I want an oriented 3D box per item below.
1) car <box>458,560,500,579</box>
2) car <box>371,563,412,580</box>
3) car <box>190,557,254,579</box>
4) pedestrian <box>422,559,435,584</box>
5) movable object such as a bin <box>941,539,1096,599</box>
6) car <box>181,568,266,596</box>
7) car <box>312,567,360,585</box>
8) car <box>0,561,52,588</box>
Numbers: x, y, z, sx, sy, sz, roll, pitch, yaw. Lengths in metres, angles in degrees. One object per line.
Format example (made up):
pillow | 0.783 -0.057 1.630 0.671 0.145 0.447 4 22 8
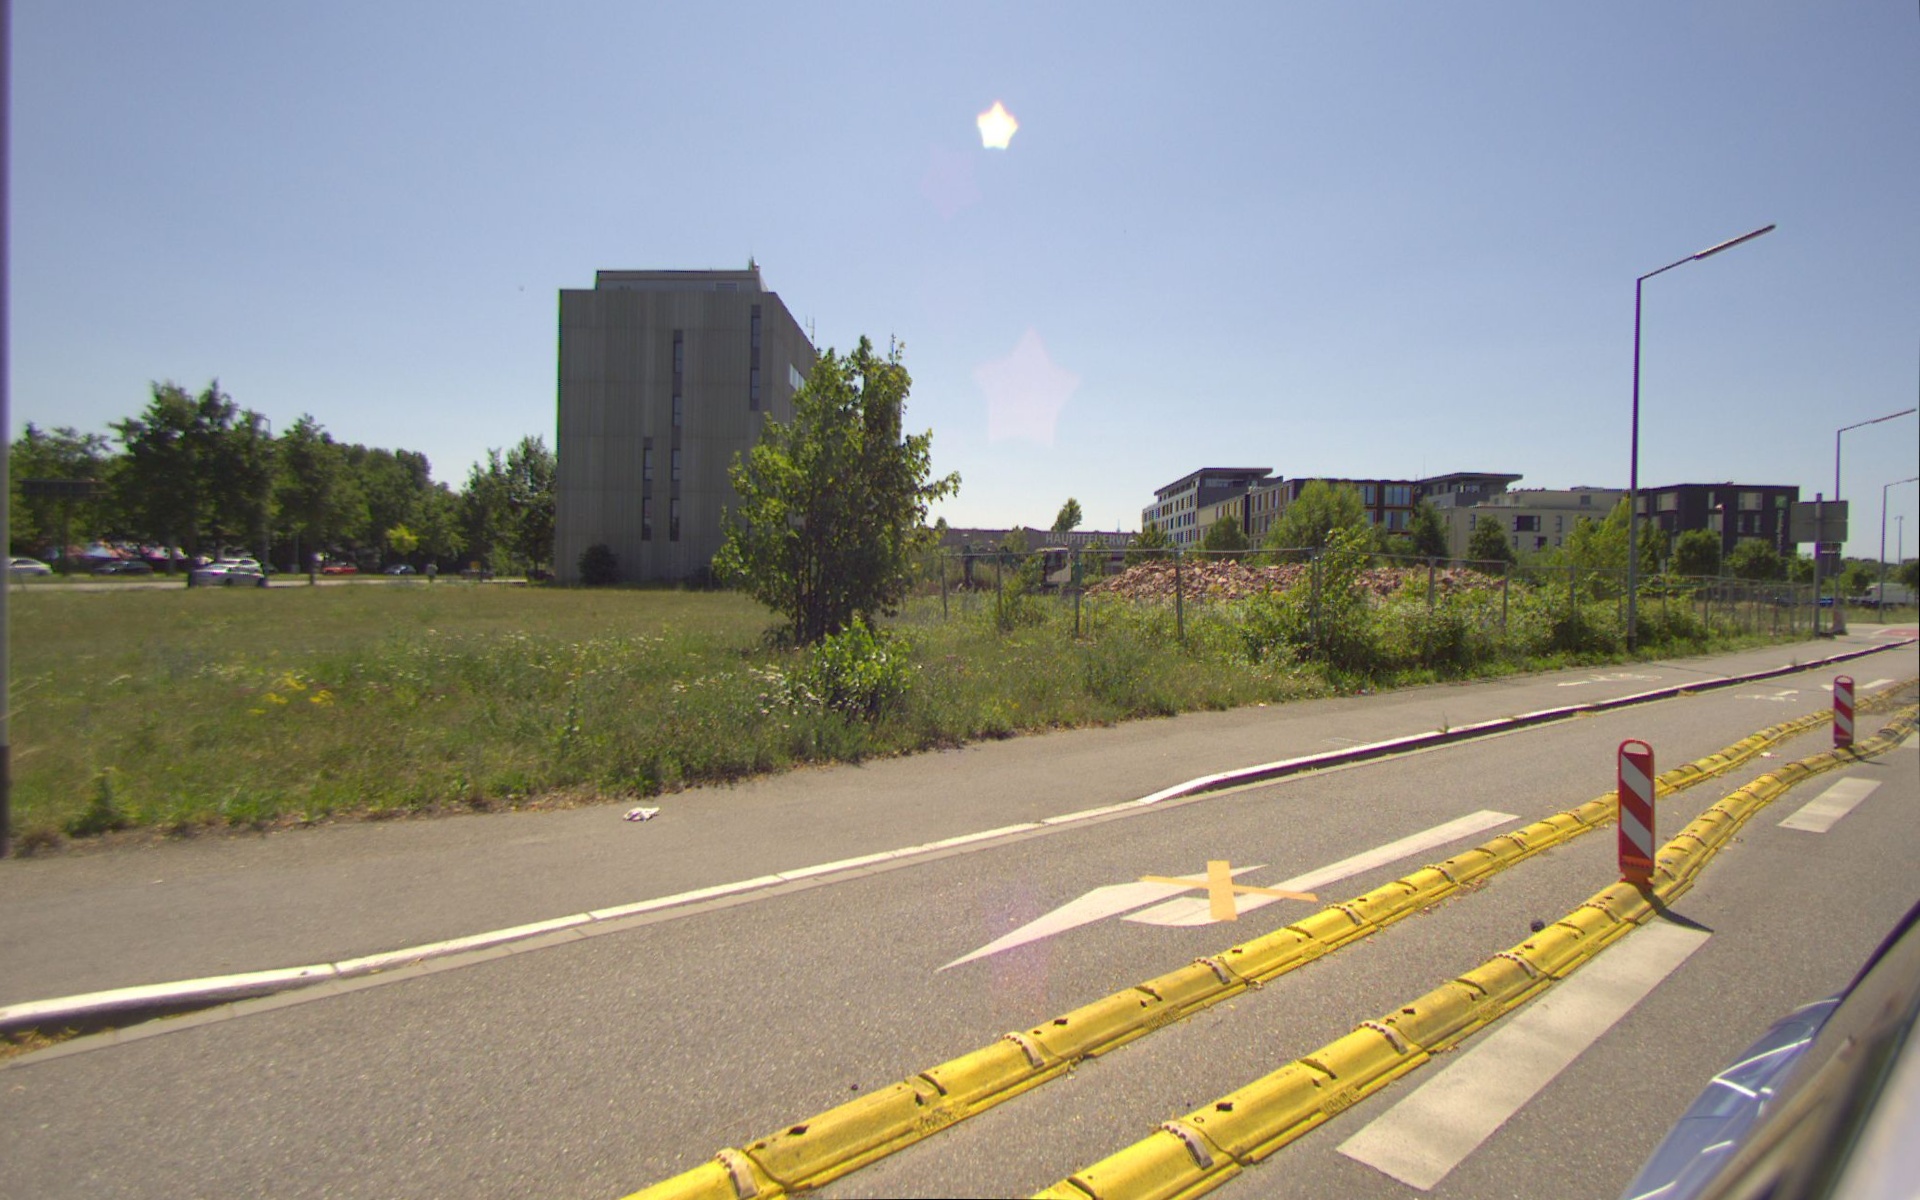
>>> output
car | -47.821 -3.024 100.729 1.960 1.757 5.334 0 0 -4
car | -60.099 -3.003 107.082 1.814 1.612 4.443 0 0 1
car | -58.488 -2.512 80.289 1.814 1.612 4.444 0 0 1
pedestrian | -33.804 -1.811 64.385 0.652 1.611 0.557 0 0 -15
movable object such as a bin | 3.090 -1.594 53.285 7.537 2.952 3.242 -1 0 -26
car | -42.953 -1.056 59.148 1.961 1.546 4.423 1 1 -3
car | -58.976 -2.215 95.734 1.814 1.612 4.415 0 0 1
car | -59.026 -1.575 62.571 1.814 1.612 4.443 0 0 1
